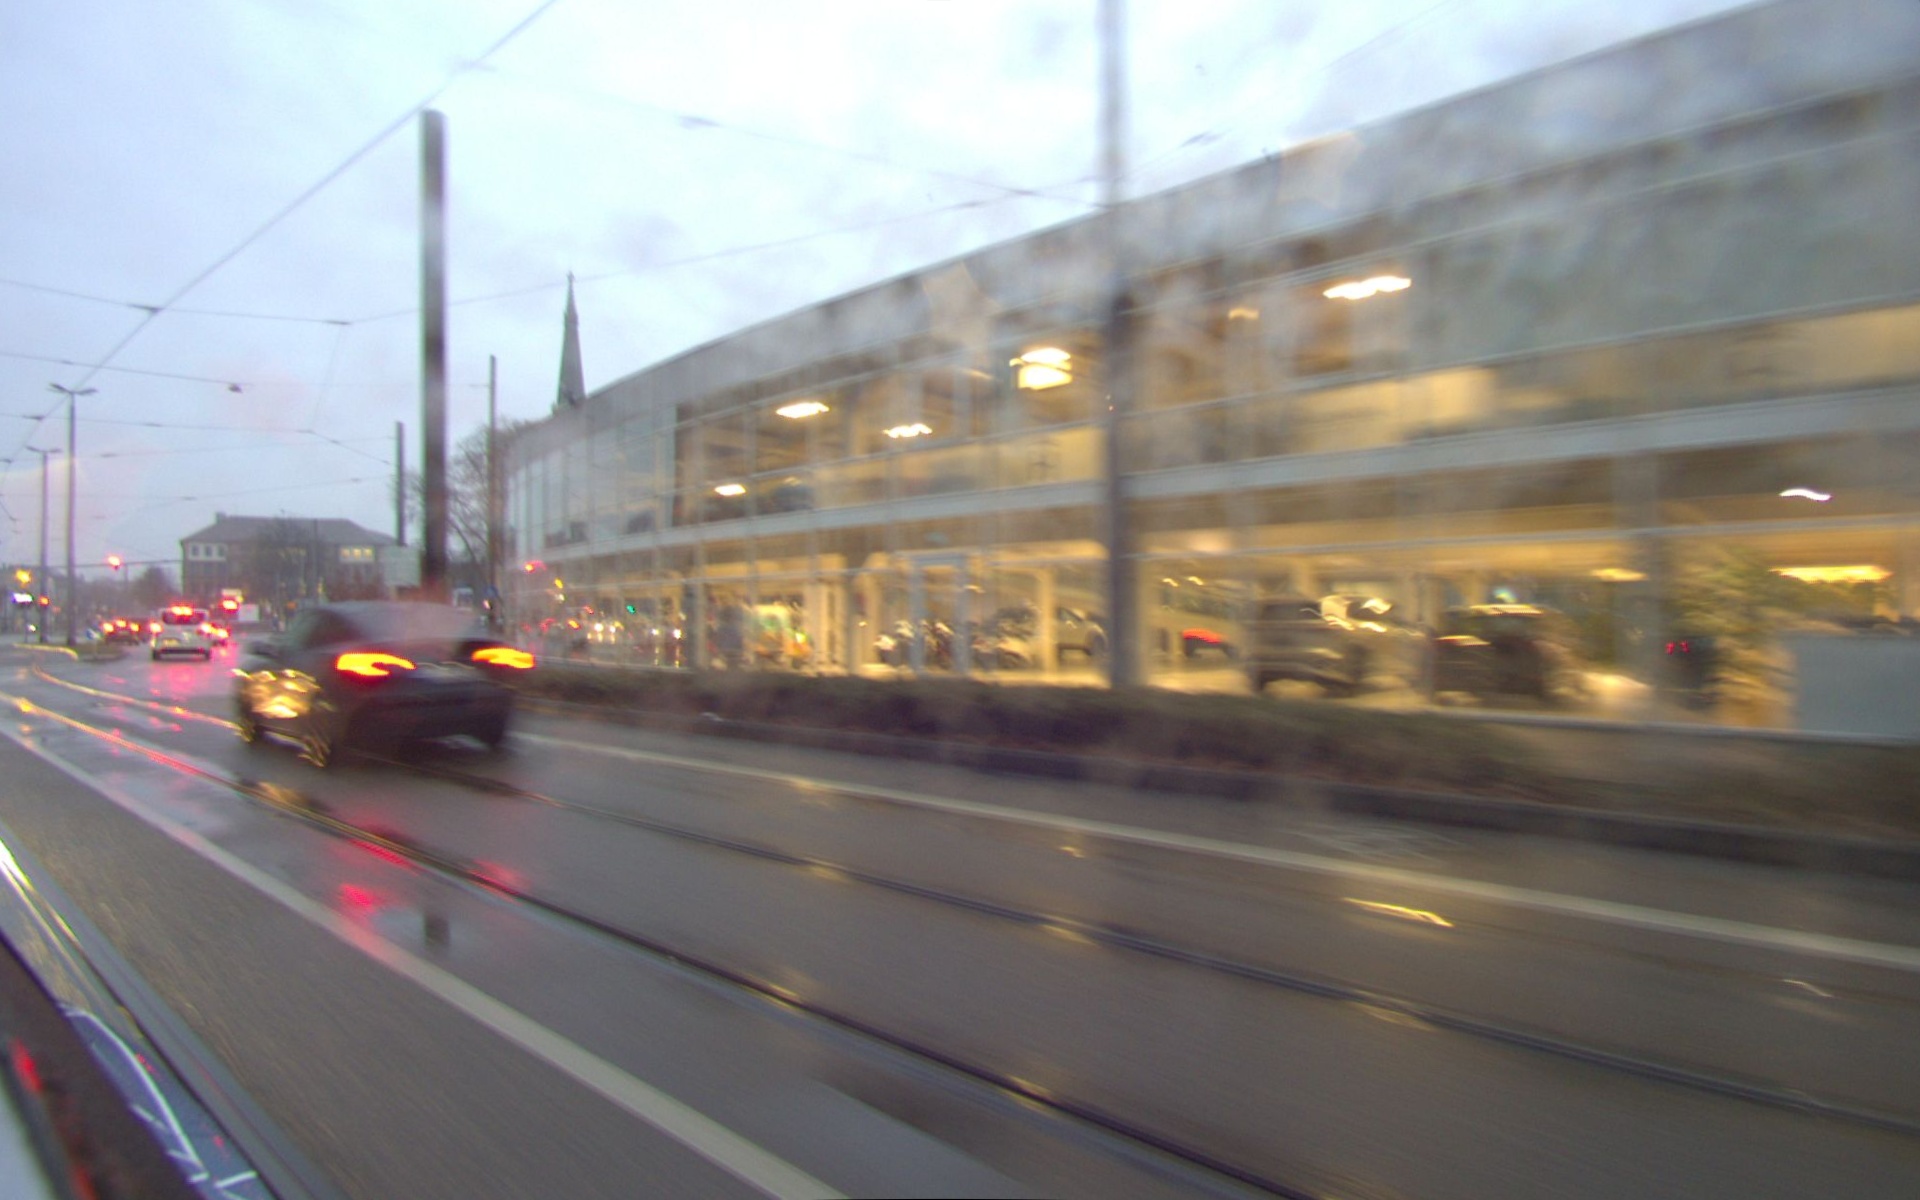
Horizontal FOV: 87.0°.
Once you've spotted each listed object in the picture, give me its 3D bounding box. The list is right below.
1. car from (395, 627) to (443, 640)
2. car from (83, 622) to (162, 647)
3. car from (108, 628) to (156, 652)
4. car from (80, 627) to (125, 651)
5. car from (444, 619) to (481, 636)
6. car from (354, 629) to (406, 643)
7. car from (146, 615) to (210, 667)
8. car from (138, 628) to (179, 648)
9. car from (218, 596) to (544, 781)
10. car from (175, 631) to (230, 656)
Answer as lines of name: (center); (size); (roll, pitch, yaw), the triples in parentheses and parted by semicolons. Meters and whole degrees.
car: (-55.794, 3.427, 104.377); (3.949, 1.320, 1.997); (-1, -1, 5)
car: (-75.600, 3.081, 91.441); (5.466, 2.029, 2.003); (0, -1, -41)
car: (-52.122, 2.497, 63.665); (4.001, 1.401, 1.850); (-1, -4, 44)
car: (-57.743, 2.609, 68.124); (4.000, 1.497, 1.879); (-1, -1, 43)
car: (-61.684, 3.452, 125.572); (3.930, 2.029, 2.007); (0, -1, -23)
car: (-55.962, 3.474, 97.687); (3.949, 1.320, 1.997); (-1, -1, 5)
car: (-32.228, 1.626, 41.822); (1.967, 2.029, 4.695); (0, -1, -36)
car: (-56.992, 2.654, 71.944); (4.000, 1.368, 1.705); (-1, -1, 43)
car: (-6.376, 0.817, 10.918); (4.442, 1.590, 1.821); (-2, -2, 43)
car: (-46.323, 2.634, 61.847); (4.589, 1.432, 1.971); (-1, -1, 44)
